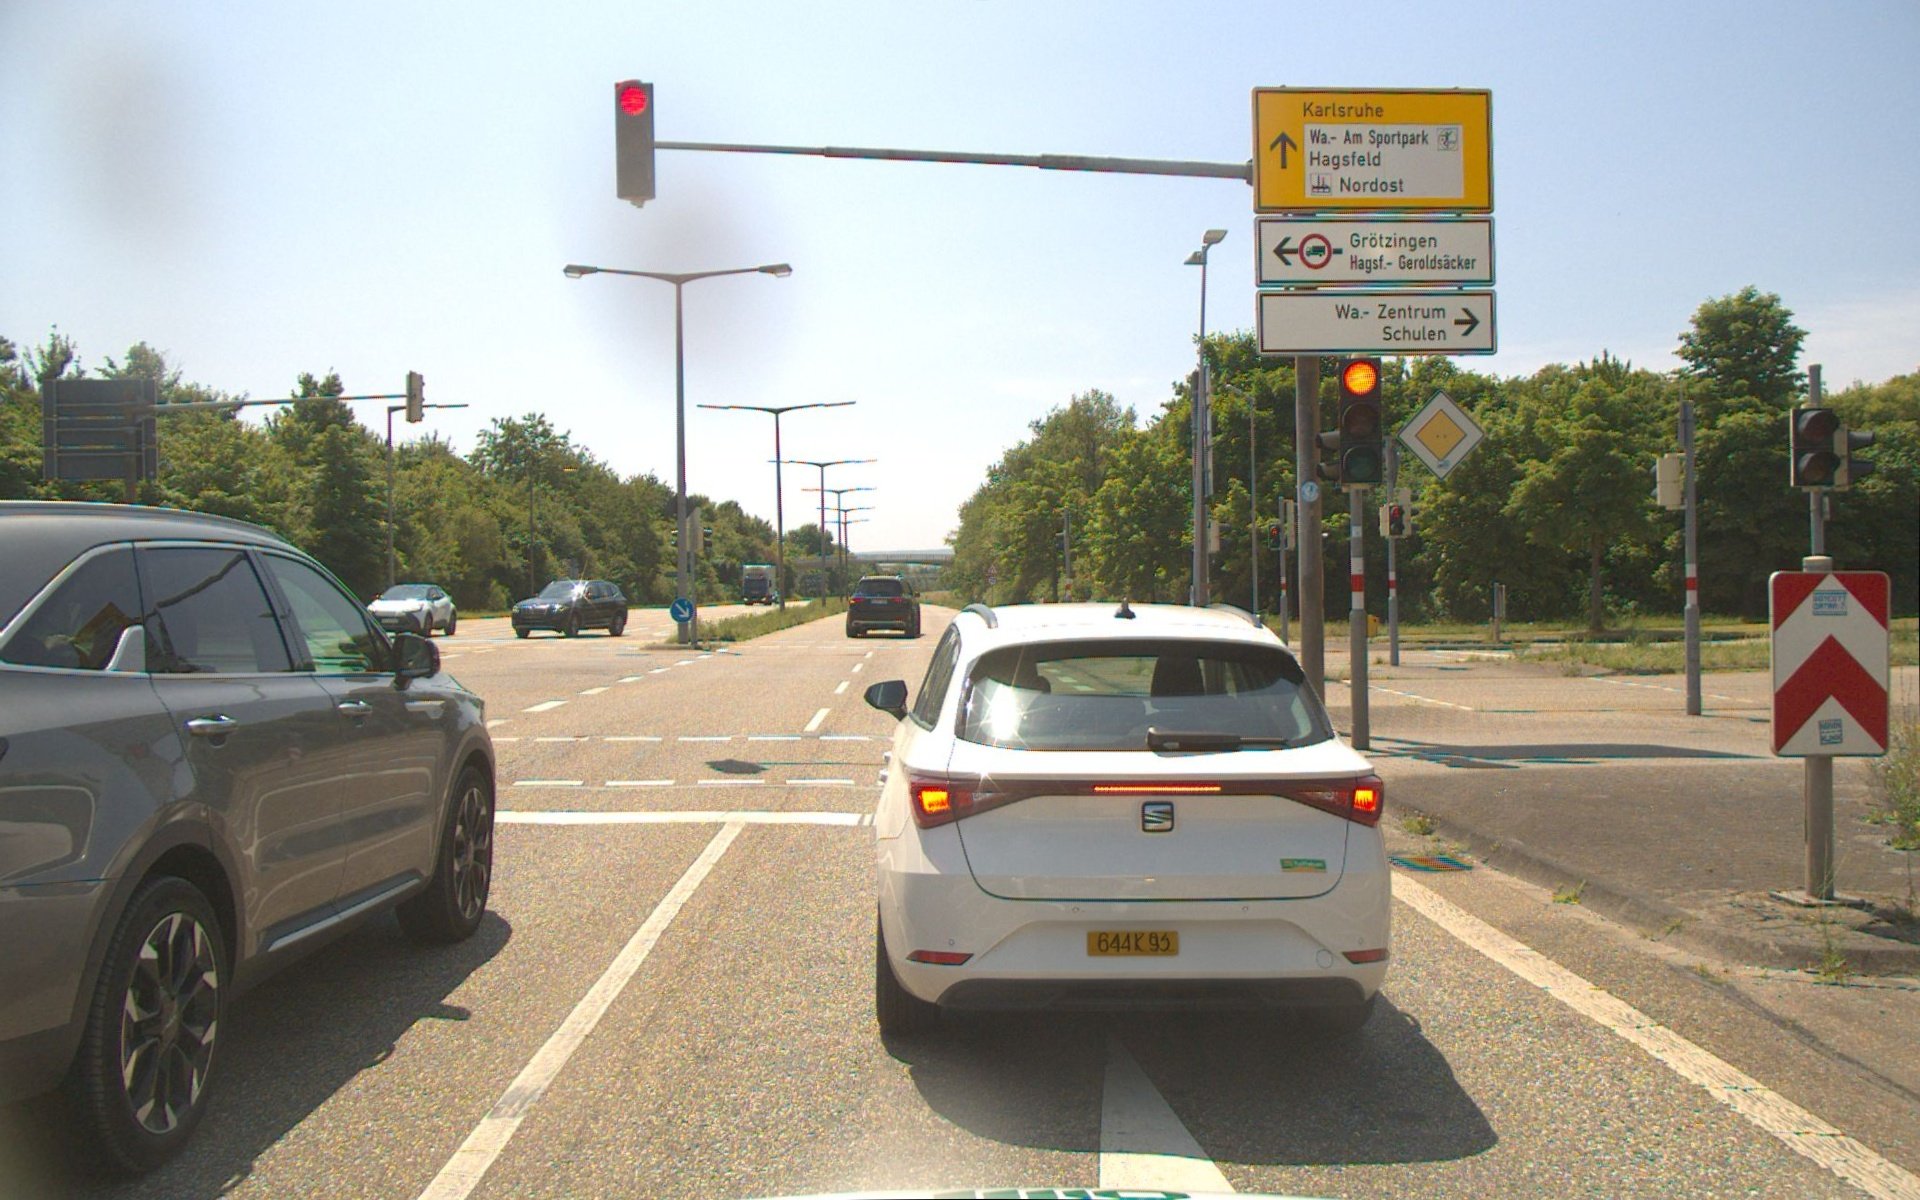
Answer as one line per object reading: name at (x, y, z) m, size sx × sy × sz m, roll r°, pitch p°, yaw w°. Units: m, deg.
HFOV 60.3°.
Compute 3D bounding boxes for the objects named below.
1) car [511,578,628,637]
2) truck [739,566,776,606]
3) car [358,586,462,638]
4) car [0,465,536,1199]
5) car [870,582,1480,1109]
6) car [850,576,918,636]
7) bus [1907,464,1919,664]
car at (-11.756, 0.192, 50.063) m, size 1.670 × 1.692 × 4.226 m, roll -1°, pitch 1°, yaw 14°
truck at (-18.709, -1.287, 153.130) m, size 2.633 × 3.633 × 7.266 m, roll 0°, pitch 1°, yaw -1°
car at (-16.607, 0.325, 50.161) m, size 1.785 × 1.481 × 4.168 m, roll -1°, pitch 1°, yaw 0°
car at (-2.858, 0.571, 5.456) m, size 1.767 × 1.691 × 4.643 m, roll -1°, pitch 0°, yaw -1°
car at (0.584, 0.700, 6.494) m, size 1.699 × 1.453 × 3.693 m, roll 1°, pitch 0°, yaw -1°
car at (-2.285, 0.167, 50.605) m, size 1.816 × 1.738 × 4.001 m, roll -1°, pitch 1°, yaw 1°
bus at (21.005, -0.644, 26.131) m, size 11.831 × 3.140 × 2.623 m, roll -1°, pitch 0°, yaw -13°
